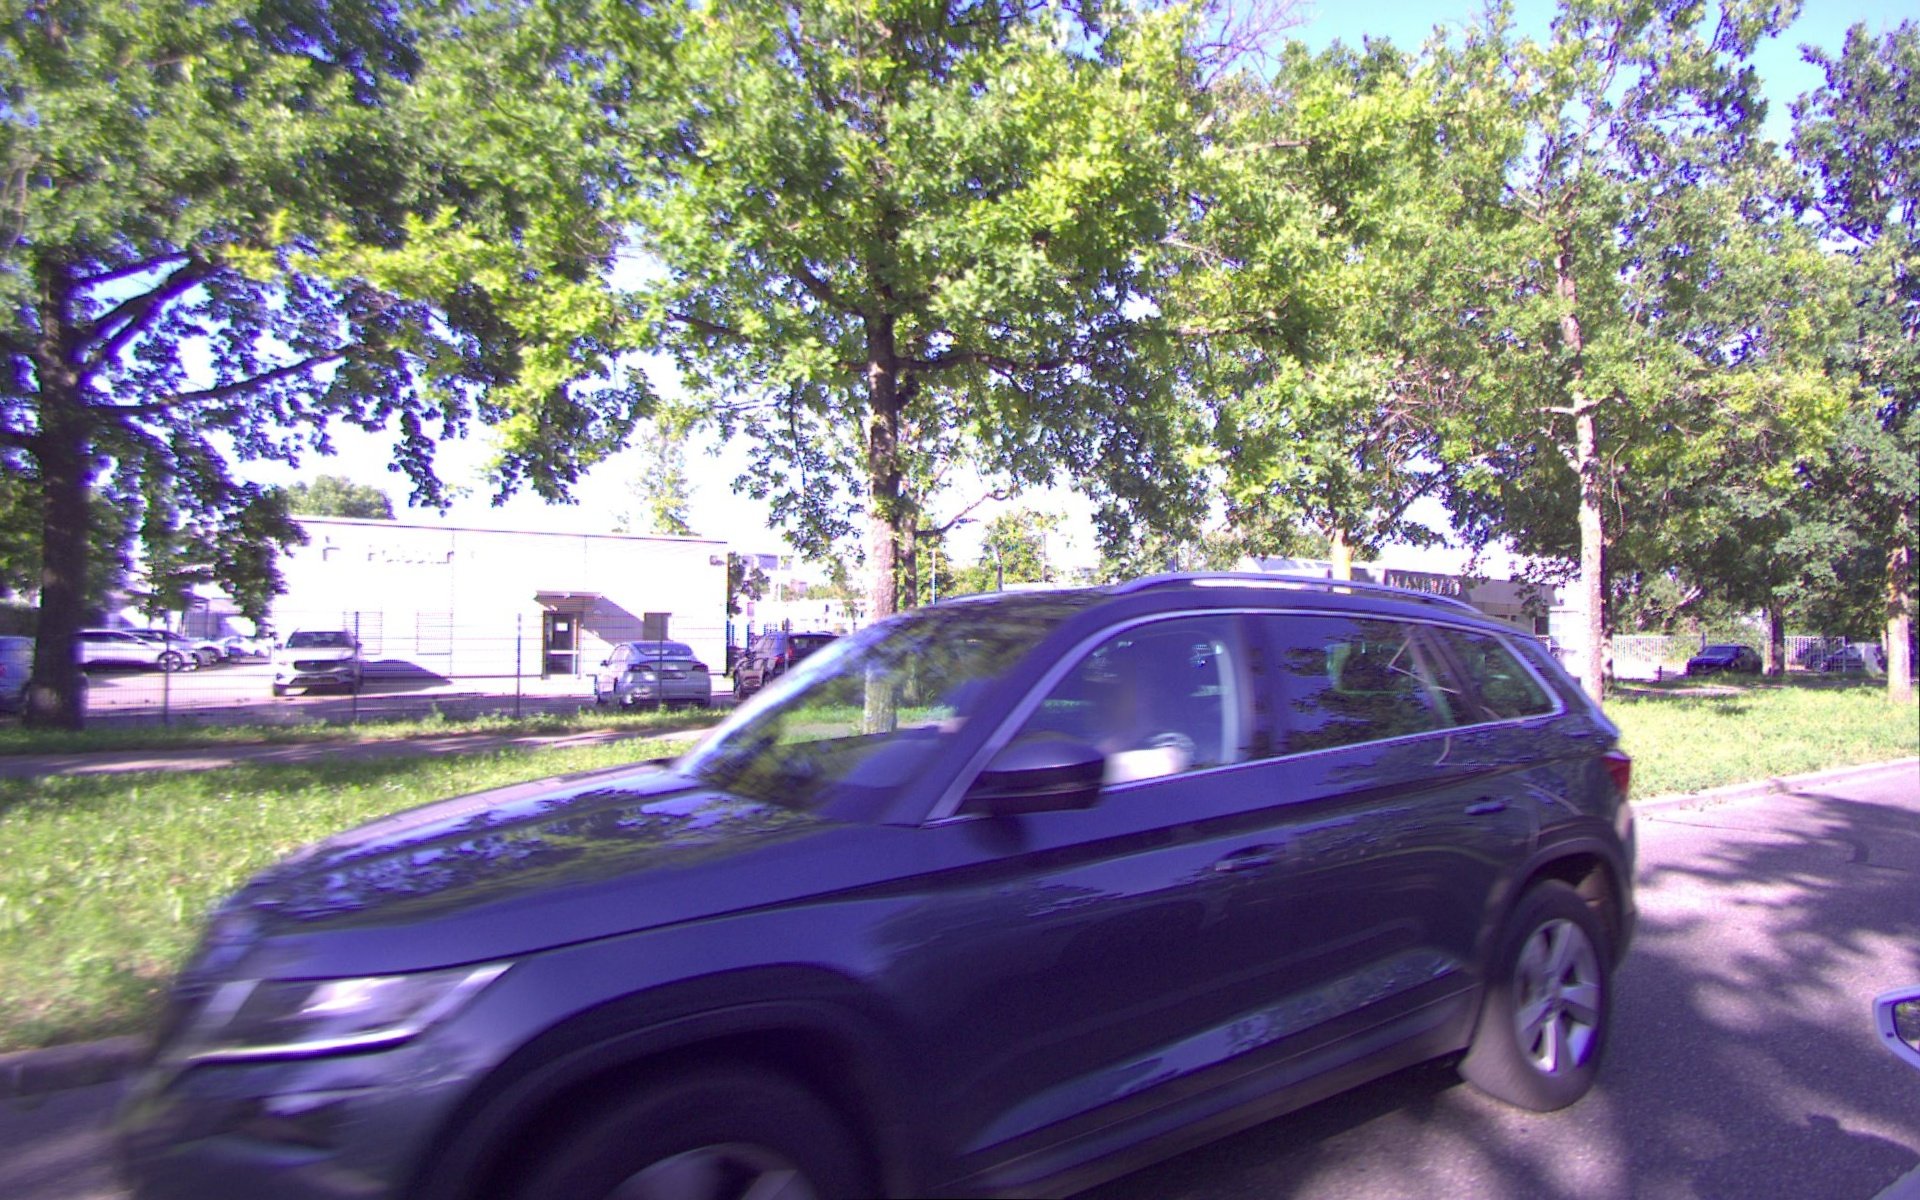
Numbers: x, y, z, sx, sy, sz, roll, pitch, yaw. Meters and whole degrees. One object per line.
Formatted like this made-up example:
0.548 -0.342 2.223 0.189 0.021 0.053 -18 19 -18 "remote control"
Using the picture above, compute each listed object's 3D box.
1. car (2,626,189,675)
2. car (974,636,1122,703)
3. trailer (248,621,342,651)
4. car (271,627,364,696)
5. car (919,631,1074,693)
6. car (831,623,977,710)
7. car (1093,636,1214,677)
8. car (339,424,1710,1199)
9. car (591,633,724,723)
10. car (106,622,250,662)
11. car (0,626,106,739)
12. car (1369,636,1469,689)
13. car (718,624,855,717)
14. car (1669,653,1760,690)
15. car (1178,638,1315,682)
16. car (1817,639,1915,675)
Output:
-29.822 1.684 34.812 1.718 1.539 4.607 1 0 34 "car"
2.646 1.954 29.286 1.971 1.697 4.475 1 0 42 "car"
-45.978 2.482 69.512 5.096 2.040 2.001 0 -1 1 "trailer"
-16.653 1.546 26.187 1.730 1.539 3.970 2 0 -29 "car"
1.261 1.909 32.051 1.972 1.740 5.228 1 0 44 "car"
-1.421 1.495 23.896 1.975 1.765 3.971 2 0 -28 "car"
8.504 2.481 44.456 4.914 1.683 1.999 0 0 -4 "car"
0.455 0.698 3.242 4.153 1.694 1.758 2 -3 -32 "car"
-6.487 1.556 21.231 1.839 1.539 4.292 2 0 -29 "car"
-32.746 1.735 42.154 1.723 1.539 4.592 1 0 44 "car"
-15.737 1.249 16.191 2.172 1.539 3.970 2 0 -29 "car"
13.636 1.817 29.949 1.402 1.489 2.568 1 -2 -15 "car"
-3.994 1.504 22.621 1.839 1.769 3.970 2 0 -29 "car"
36.487 3.422 48.529 4.962 1.619 1.981 2 0 -34 "car"
11.716 2.431 41.370 5.153 1.683 2.001 0 0 7 "car"
52.576 3.275 58.351 1.983 1.825 3.955 2 0 -39 "car"
